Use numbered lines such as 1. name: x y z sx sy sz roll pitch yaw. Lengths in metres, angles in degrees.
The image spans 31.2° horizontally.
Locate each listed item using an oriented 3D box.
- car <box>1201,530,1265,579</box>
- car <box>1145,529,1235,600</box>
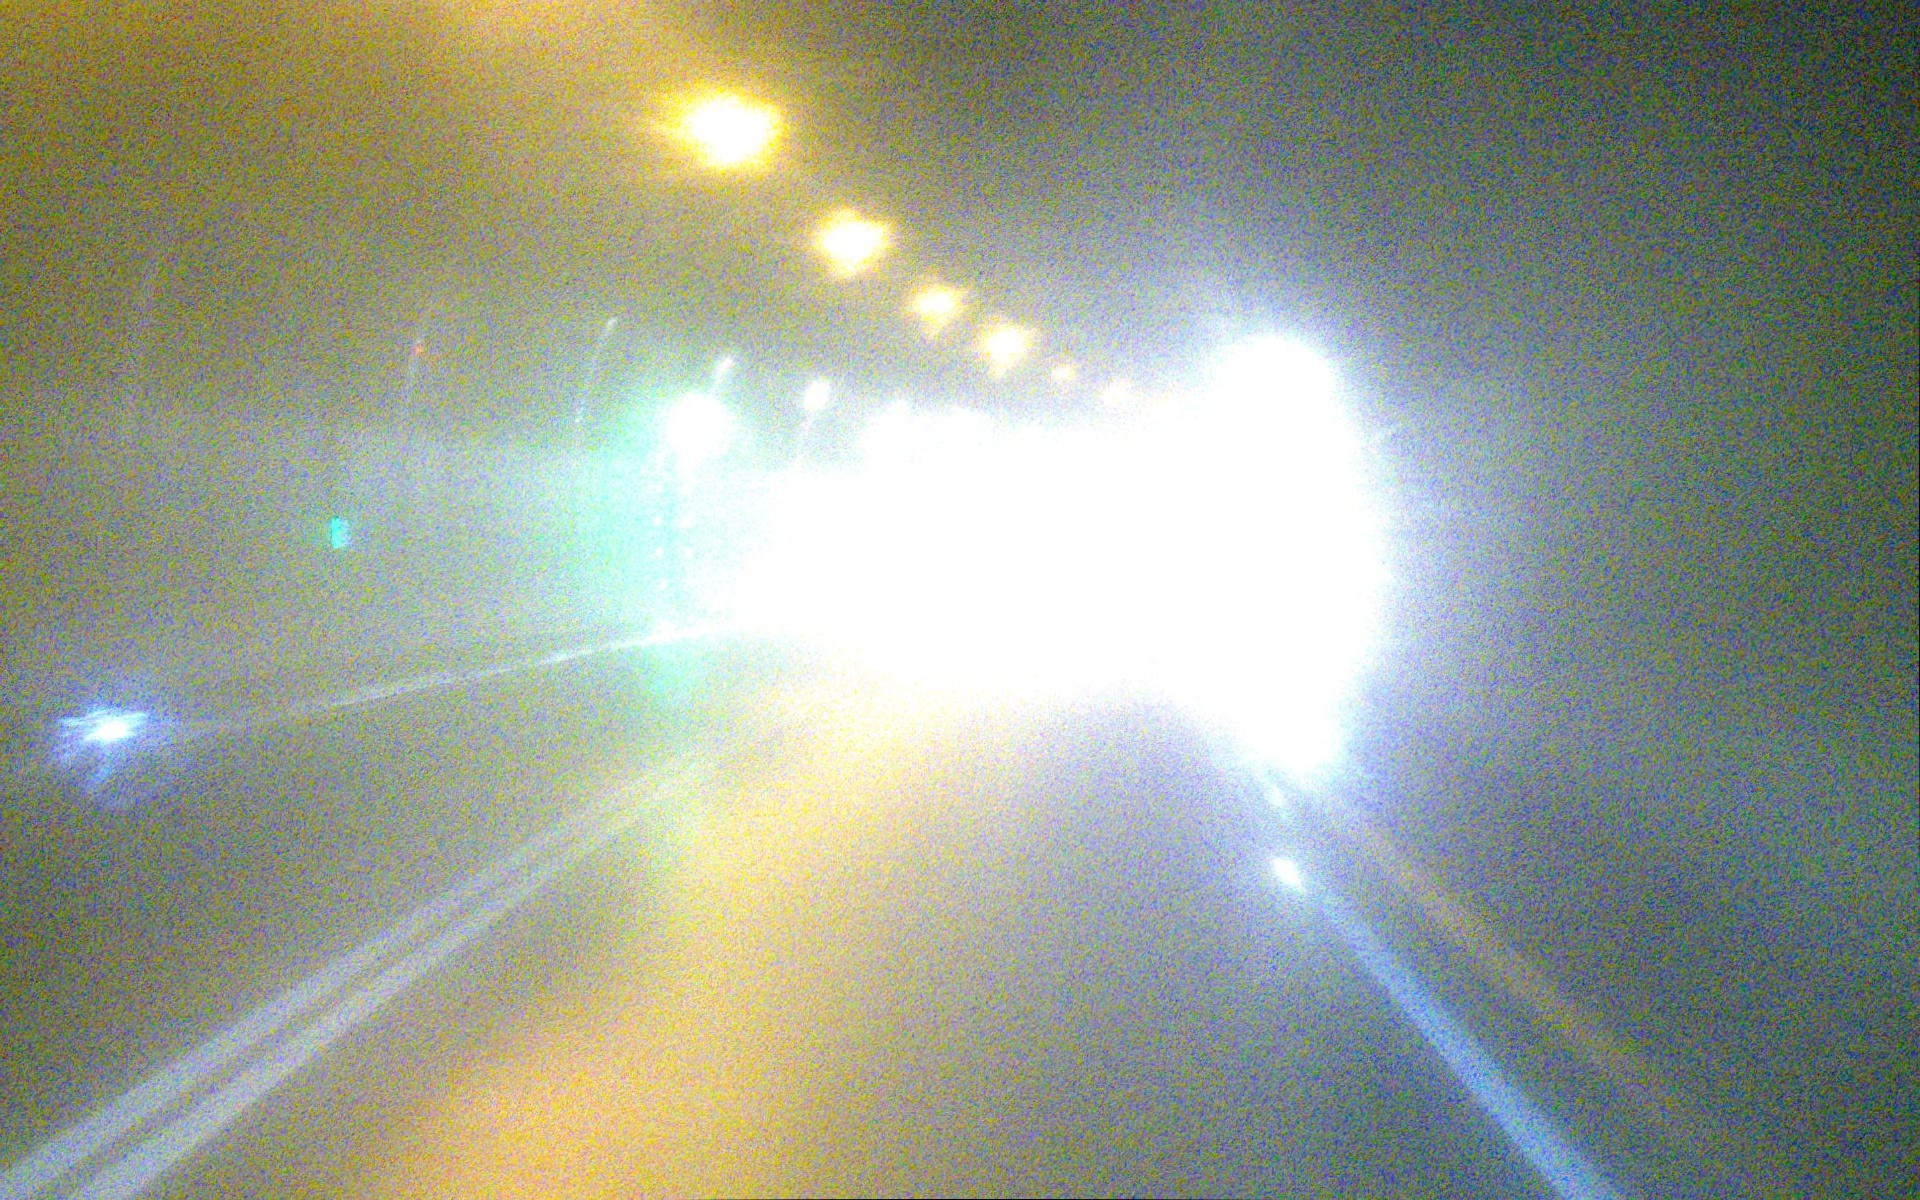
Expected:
1. car: 9.501 -1.607 119.569 1.994 1.645 3.999 1 1 8
2. car: 5.518 -0.875 82.090 1.994 1.645 3.999 1 1 6
